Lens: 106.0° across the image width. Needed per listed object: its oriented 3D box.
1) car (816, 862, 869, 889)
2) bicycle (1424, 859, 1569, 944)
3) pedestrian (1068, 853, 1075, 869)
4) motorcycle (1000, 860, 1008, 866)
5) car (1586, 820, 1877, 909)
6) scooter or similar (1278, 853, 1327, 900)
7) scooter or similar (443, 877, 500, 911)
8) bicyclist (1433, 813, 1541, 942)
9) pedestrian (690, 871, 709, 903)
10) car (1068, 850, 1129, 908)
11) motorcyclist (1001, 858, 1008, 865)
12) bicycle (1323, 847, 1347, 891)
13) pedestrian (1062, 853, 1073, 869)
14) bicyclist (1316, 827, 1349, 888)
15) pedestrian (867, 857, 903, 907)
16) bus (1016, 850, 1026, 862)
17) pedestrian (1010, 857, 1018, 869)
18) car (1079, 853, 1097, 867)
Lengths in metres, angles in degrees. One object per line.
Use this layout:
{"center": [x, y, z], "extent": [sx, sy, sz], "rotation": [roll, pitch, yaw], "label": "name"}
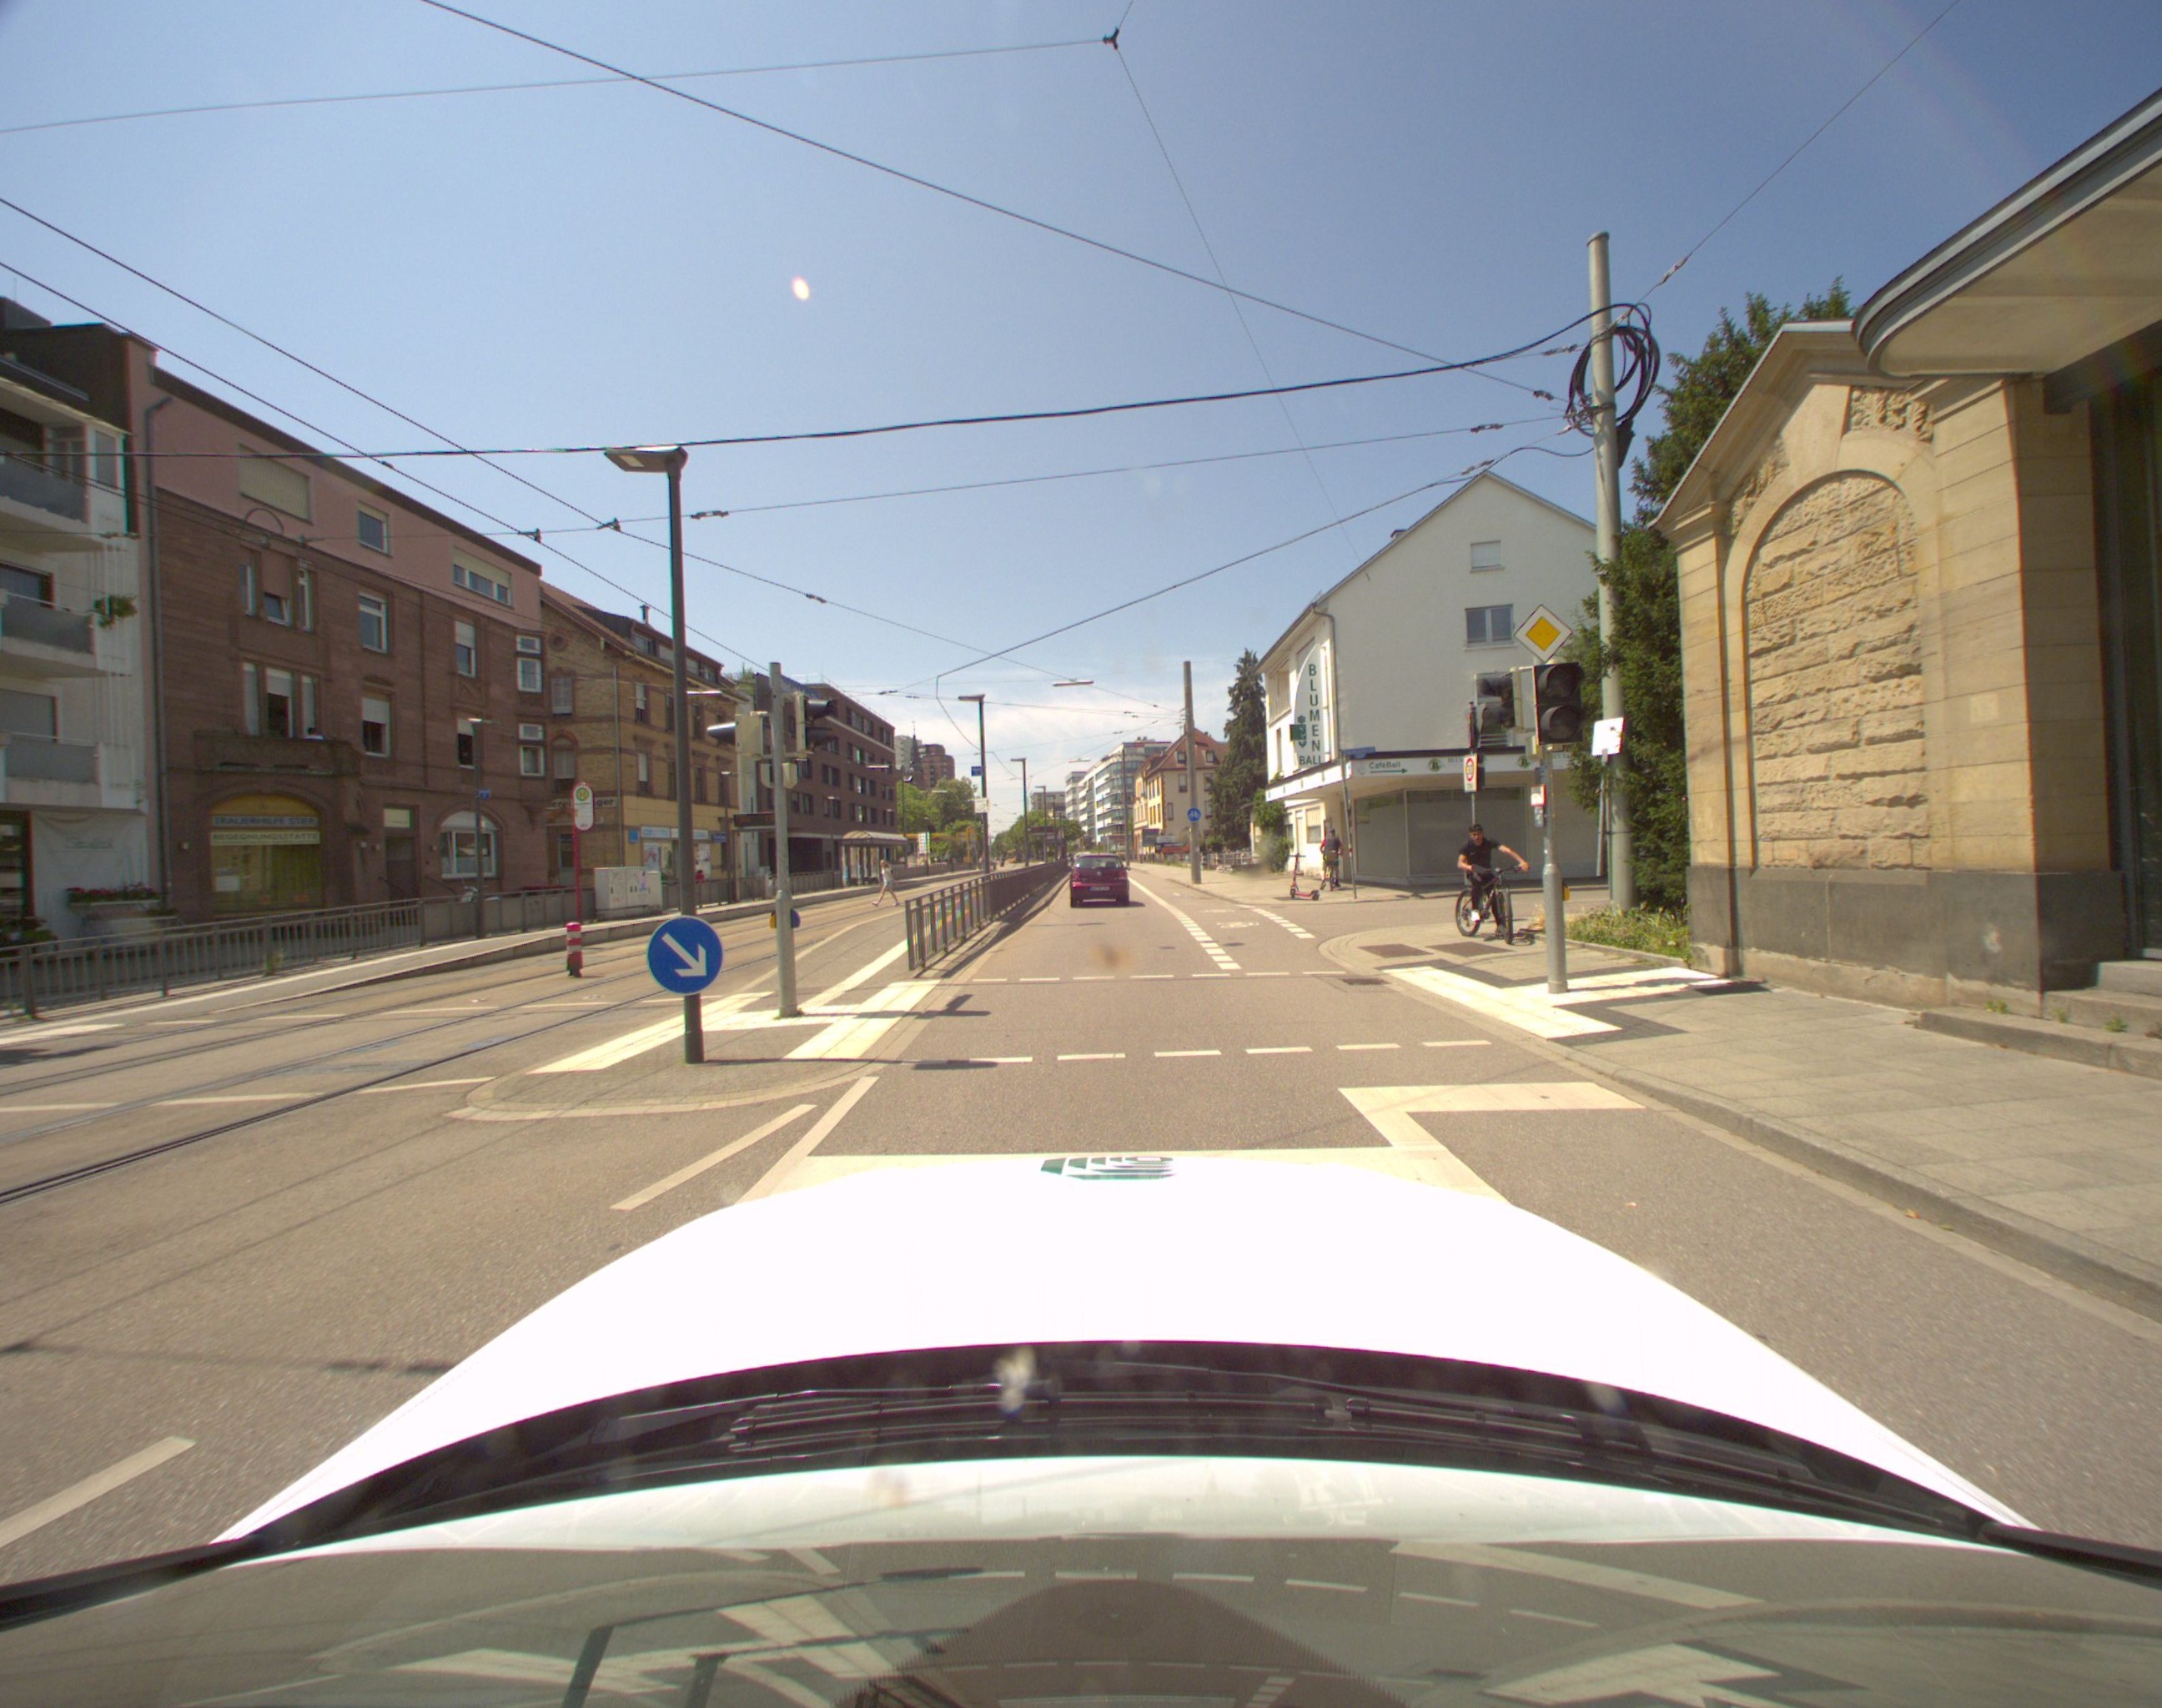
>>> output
{"center": [-15.339, 1.368, 52.627], "extent": [1.985, 1.508, 4.003], "rotation": [-3, 0, 3], "label": "car"}
{"center": [5.655, 0.619, 11.224], "extent": [0.669, 1.002, 1.855], "rotation": [-7, 0, -12], "label": "bicycle"}
{"center": [-1.124, 0.859, 98.714], "extent": [0.743, 1.836, 0.791], "rotation": [-3, 0, -2], "label": "pedestrian"}
{"center": [-12.753, 1.488, 135.588], "extent": [0.867, 0.806, 1.914], "rotation": [-3, 0, 8], "label": "motorcycle"}
{"center": [12.220, 0.158, 15.477], "extent": [4.213, 1.431, 1.711], "rotation": [-2, 2, -1], "label": "car"}
{"center": [5.744, 0.573, 21.200], "extent": [0.341, 1.178, 1.456], "rotation": [-2, 0, -23], "label": "scooter or similar"}
{"center": [-21.600, 1.415, 28.898], "extent": [0.484, 1.082, 1.584], "rotation": [-3, 0, 17], "label": "scooter or similar"}
{"center": [5.592, 0.316, 11.263], "extent": [0.833, 1.618, 0.856], "rotation": [-7, 0, -12], "label": "bicyclist"}
{"center": [-19.634, 1.689, 41.948], "extent": [0.612, 1.560, 0.640], "rotation": [-3, 0, 0], "label": "pedestrian"}
{"center": [0.467, 0.663, 22.936], "extent": [1.556, 1.453, 3.061], "rotation": [-3, 0, 0], "label": "car"}
{"center": [-12.750, 1.305, 135.576], "extent": [0.845, 1.139, 0.636], "rotation": [-3, 0, 8], "label": "motorcyclist"}
{"center": [7.445, 0.425, 23.844], "extent": [0.372, 1.197, 1.916], "rotation": [-3, 0, 25], "label": "bicycle"}
{"center": [-1.645, 0.846, 100.034], "extent": [1.166, 1.836, 0.791], "rotation": [-3, 0, -2], "label": "pedestrian"}
{"center": [7.434, 0.090, 24.043], "extent": [0.720, 1.760, 0.929], "rotation": [-3, 0, 25], "label": "bicyclist"}
{"center": [-6.844, 0.956, 28.512], "extent": [1.097, 1.674, 0.763], "rotation": [-3, 0, -10], "label": "pedestrian"}
{"center": [-15.213, 0.452, 207.060], "extent": [2.143, 3.003, 6.558], "rotation": [-3, 0, -7], "label": "bus"}
{"center": [-10.856, 1.459, 132.876], "extent": [1.105, 2.013, 1.039], "rotation": [-2, -1, 1], "label": "pedestrian"}
{"center": [0.869, 0.769, 101.751], "extent": [1.988, 1.624, 4.628], "rotation": [-3, 0, -2], "label": "car"}
